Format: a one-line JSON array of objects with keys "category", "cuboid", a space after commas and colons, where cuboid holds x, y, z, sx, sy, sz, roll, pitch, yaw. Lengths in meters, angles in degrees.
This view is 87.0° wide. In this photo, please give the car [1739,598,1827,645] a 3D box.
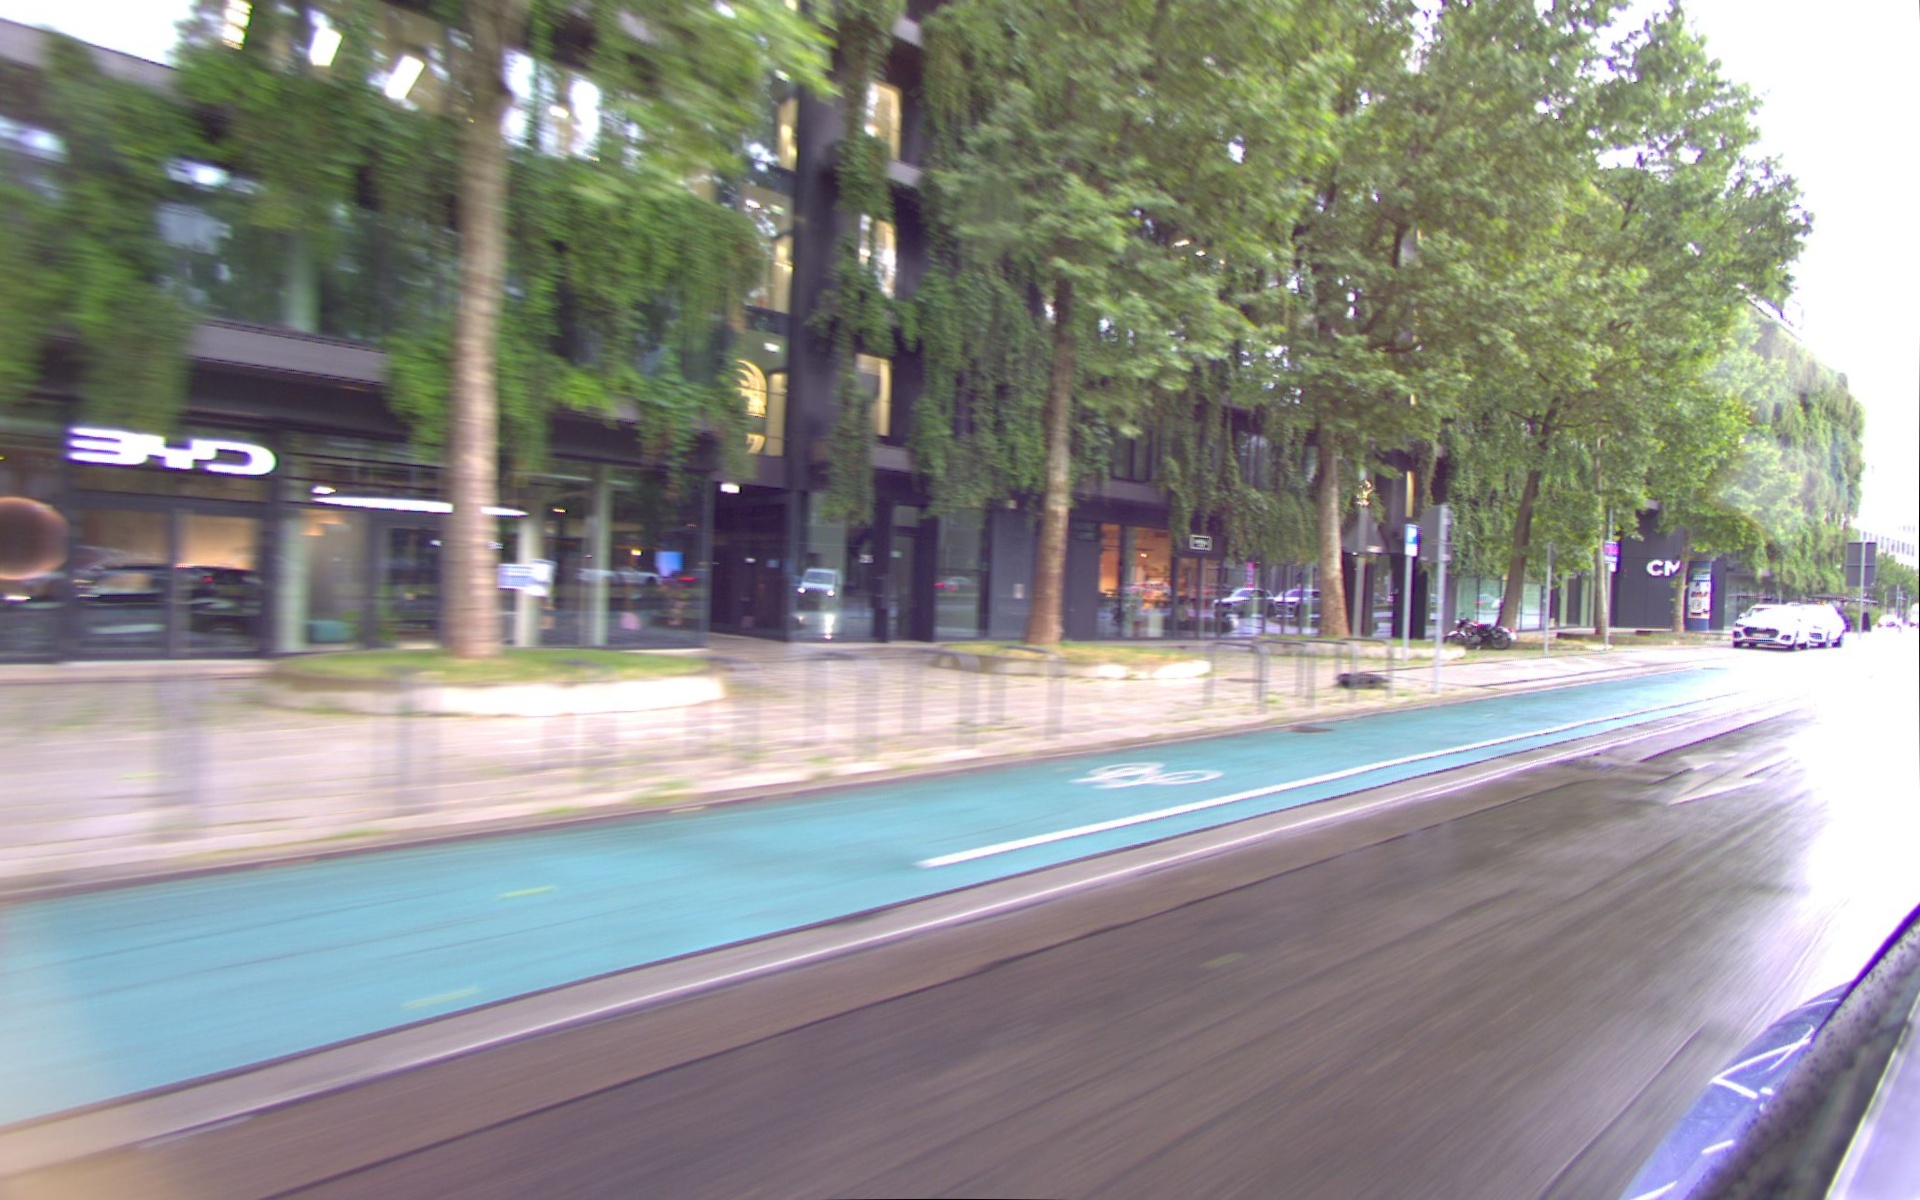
[{"category": "car", "cuboid": [31.147, 0.799, 38.246, 4.703, 1.653, 1.846, 1, 0, -42]}]

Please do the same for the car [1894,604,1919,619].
[{"category": "car", "cuboid": [104.847, 1.253, 111.916, 4.589, 1.572, 1.738, 1, 1, -41]}]

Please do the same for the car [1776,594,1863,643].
[{"category": "car", "cuboid": [35.743, 0.755, 42.038, 5.002, 1.861, 1.848, 1, 2, -40]}]

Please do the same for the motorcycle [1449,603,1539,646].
[{"category": "motorcycle", "cuboid": [16.795, 0.749, 31.897, 1.034, 1.286, 2.310, 1, -1, -42]}]

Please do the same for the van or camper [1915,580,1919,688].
[{"category": "van or camper", "cuboid": [19.613, 0.625, 16.759, 5.171, 1.938, 1.992, 1, -2, 13]}]
